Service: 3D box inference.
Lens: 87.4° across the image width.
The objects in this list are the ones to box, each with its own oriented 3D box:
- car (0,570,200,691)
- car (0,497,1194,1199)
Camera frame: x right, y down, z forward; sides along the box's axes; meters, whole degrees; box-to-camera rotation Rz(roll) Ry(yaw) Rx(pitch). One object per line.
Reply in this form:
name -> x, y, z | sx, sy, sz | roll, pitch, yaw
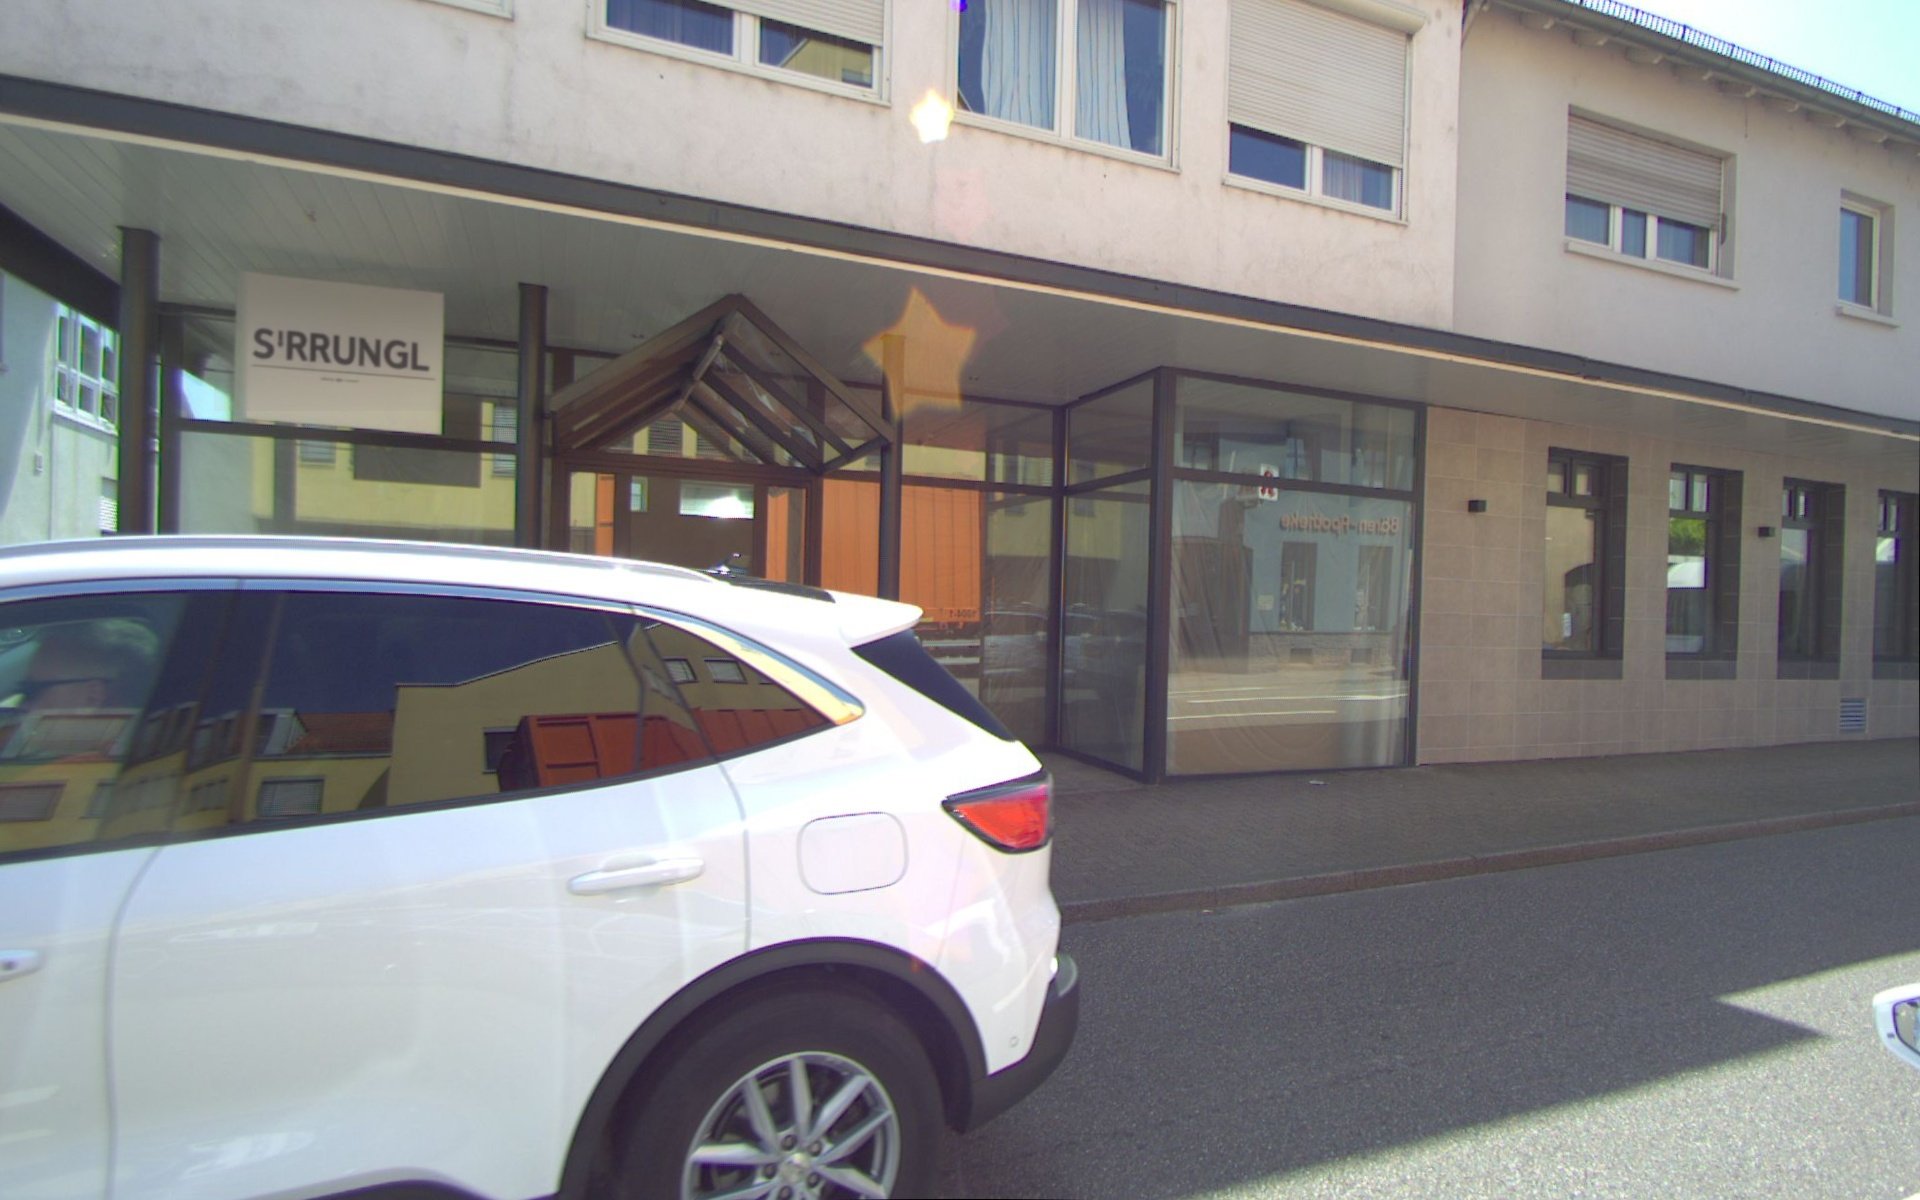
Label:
car -> -12.391, 0.358, 14.101 | 1.866, 1.483, 3.976 | 1, 0, -24
car -> -1.682, 0.662, 2.414 | 4.140, 1.575, 1.814 | 2, -2, -24
